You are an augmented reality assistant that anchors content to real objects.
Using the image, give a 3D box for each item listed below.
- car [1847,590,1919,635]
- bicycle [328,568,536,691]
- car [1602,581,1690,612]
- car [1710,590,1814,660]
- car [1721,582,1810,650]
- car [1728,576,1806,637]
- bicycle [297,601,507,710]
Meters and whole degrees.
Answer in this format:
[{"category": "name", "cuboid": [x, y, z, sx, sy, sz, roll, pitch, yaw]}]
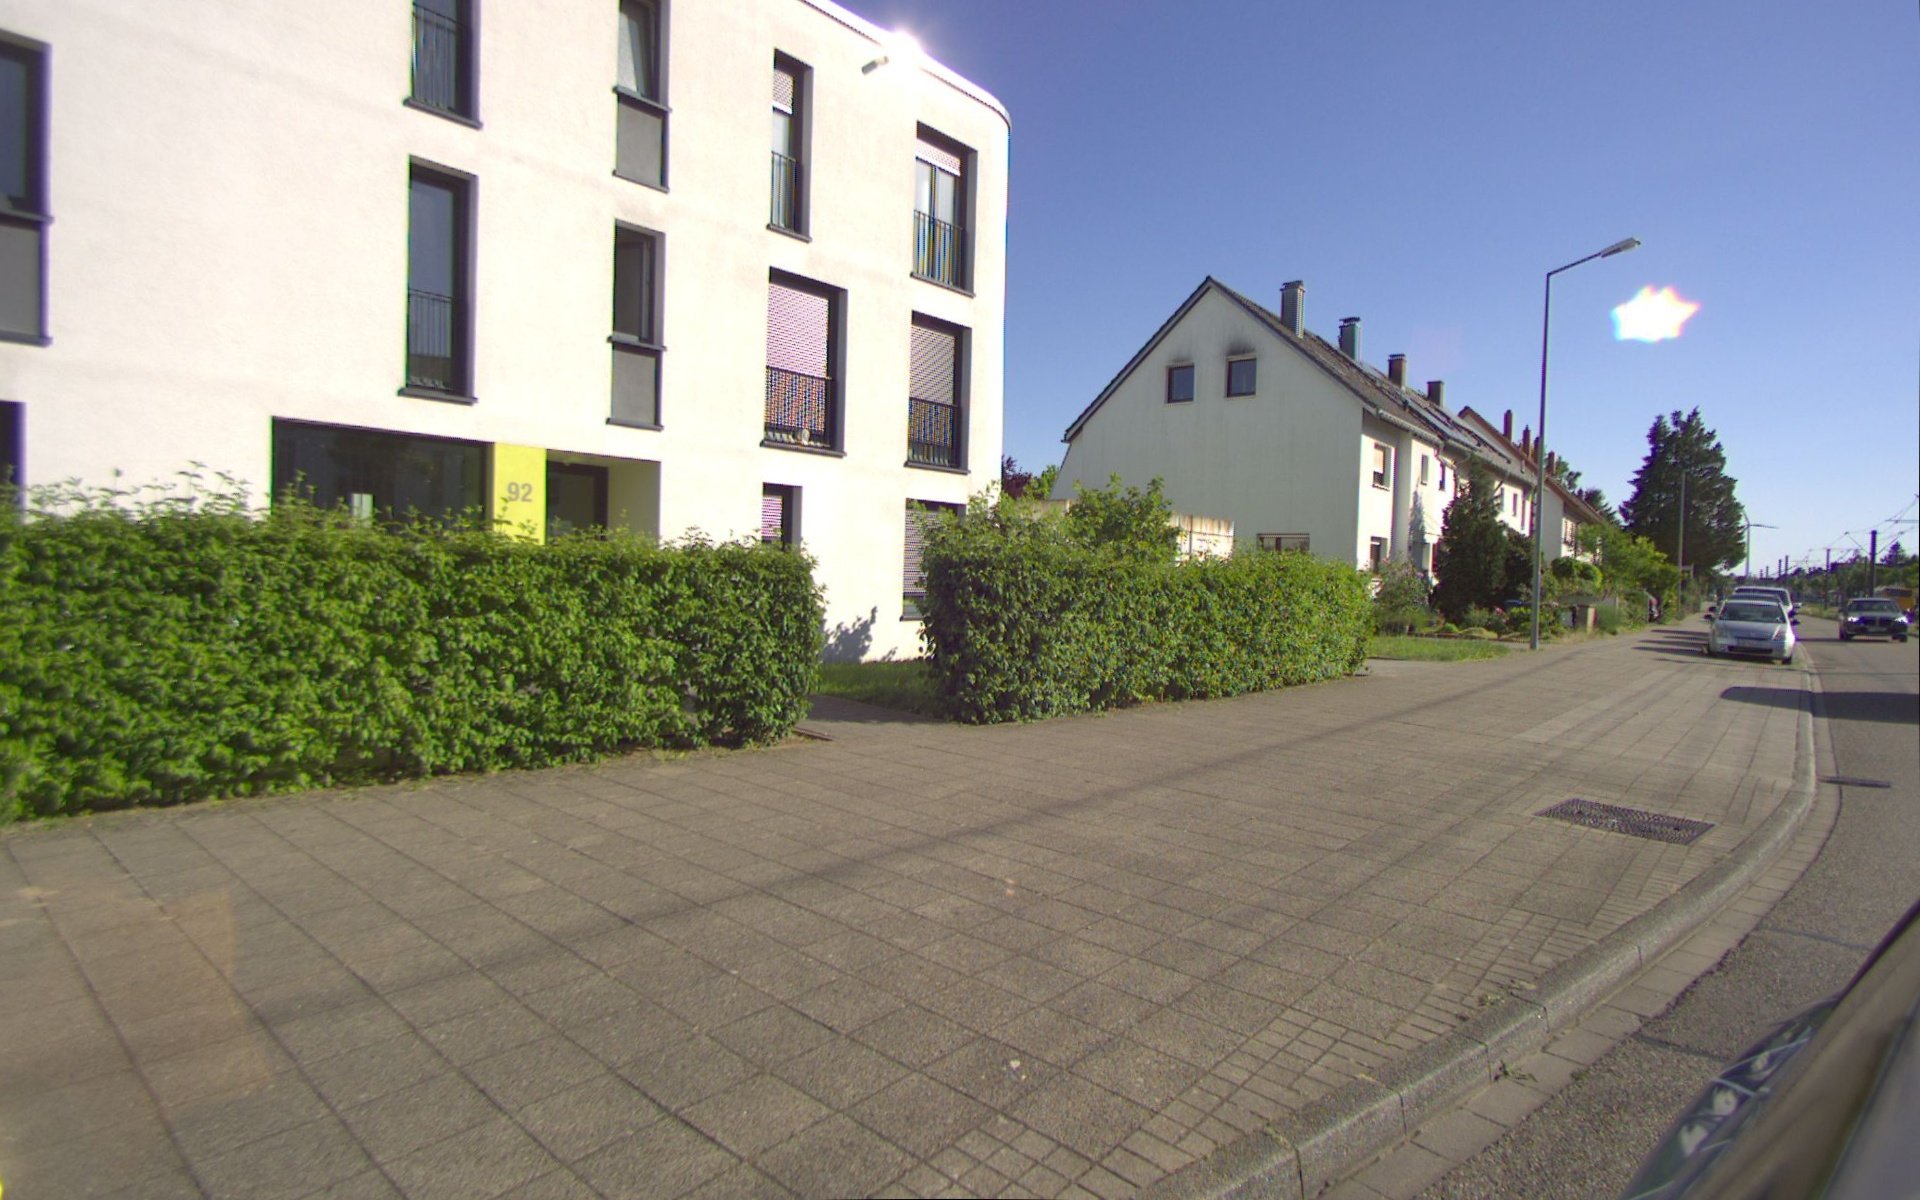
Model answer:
[{"category": "car", "cuboid": [35.437, 0.463, 38.902, 1.888, 1.533, 3.696, 5, 3, 42]}, {"category": "bicycle", "cuboid": [-5.054, 0.260, 9.768, 1.700, 1.089, 0.515, 0, 0, -45]}, {"category": "car", "cuboid": [39.964, -0.220, 58.985, 1.967, 1.705, 3.989, 0, 0, -44]}, {"category": "car", "cuboid": [19.840, 0.557, 24.979, 1.695, 1.492, 3.952, 5, 3, 42]}, {"category": "car", "cuboid": [23.288, 0.416, 29.215, 1.695, 1.723, 3.952, 5, 3, 42]}, {"category": "car", "cuboid": [29.210, 0.213, 36.588, 1.888, 1.986, 3.952, 5, 3, 42]}, {"category": "bicycle", "cuboid": [-4.818, 0.446, 8.816, 1.544, 0.864, 0.413, 0, 0, -45]}]
